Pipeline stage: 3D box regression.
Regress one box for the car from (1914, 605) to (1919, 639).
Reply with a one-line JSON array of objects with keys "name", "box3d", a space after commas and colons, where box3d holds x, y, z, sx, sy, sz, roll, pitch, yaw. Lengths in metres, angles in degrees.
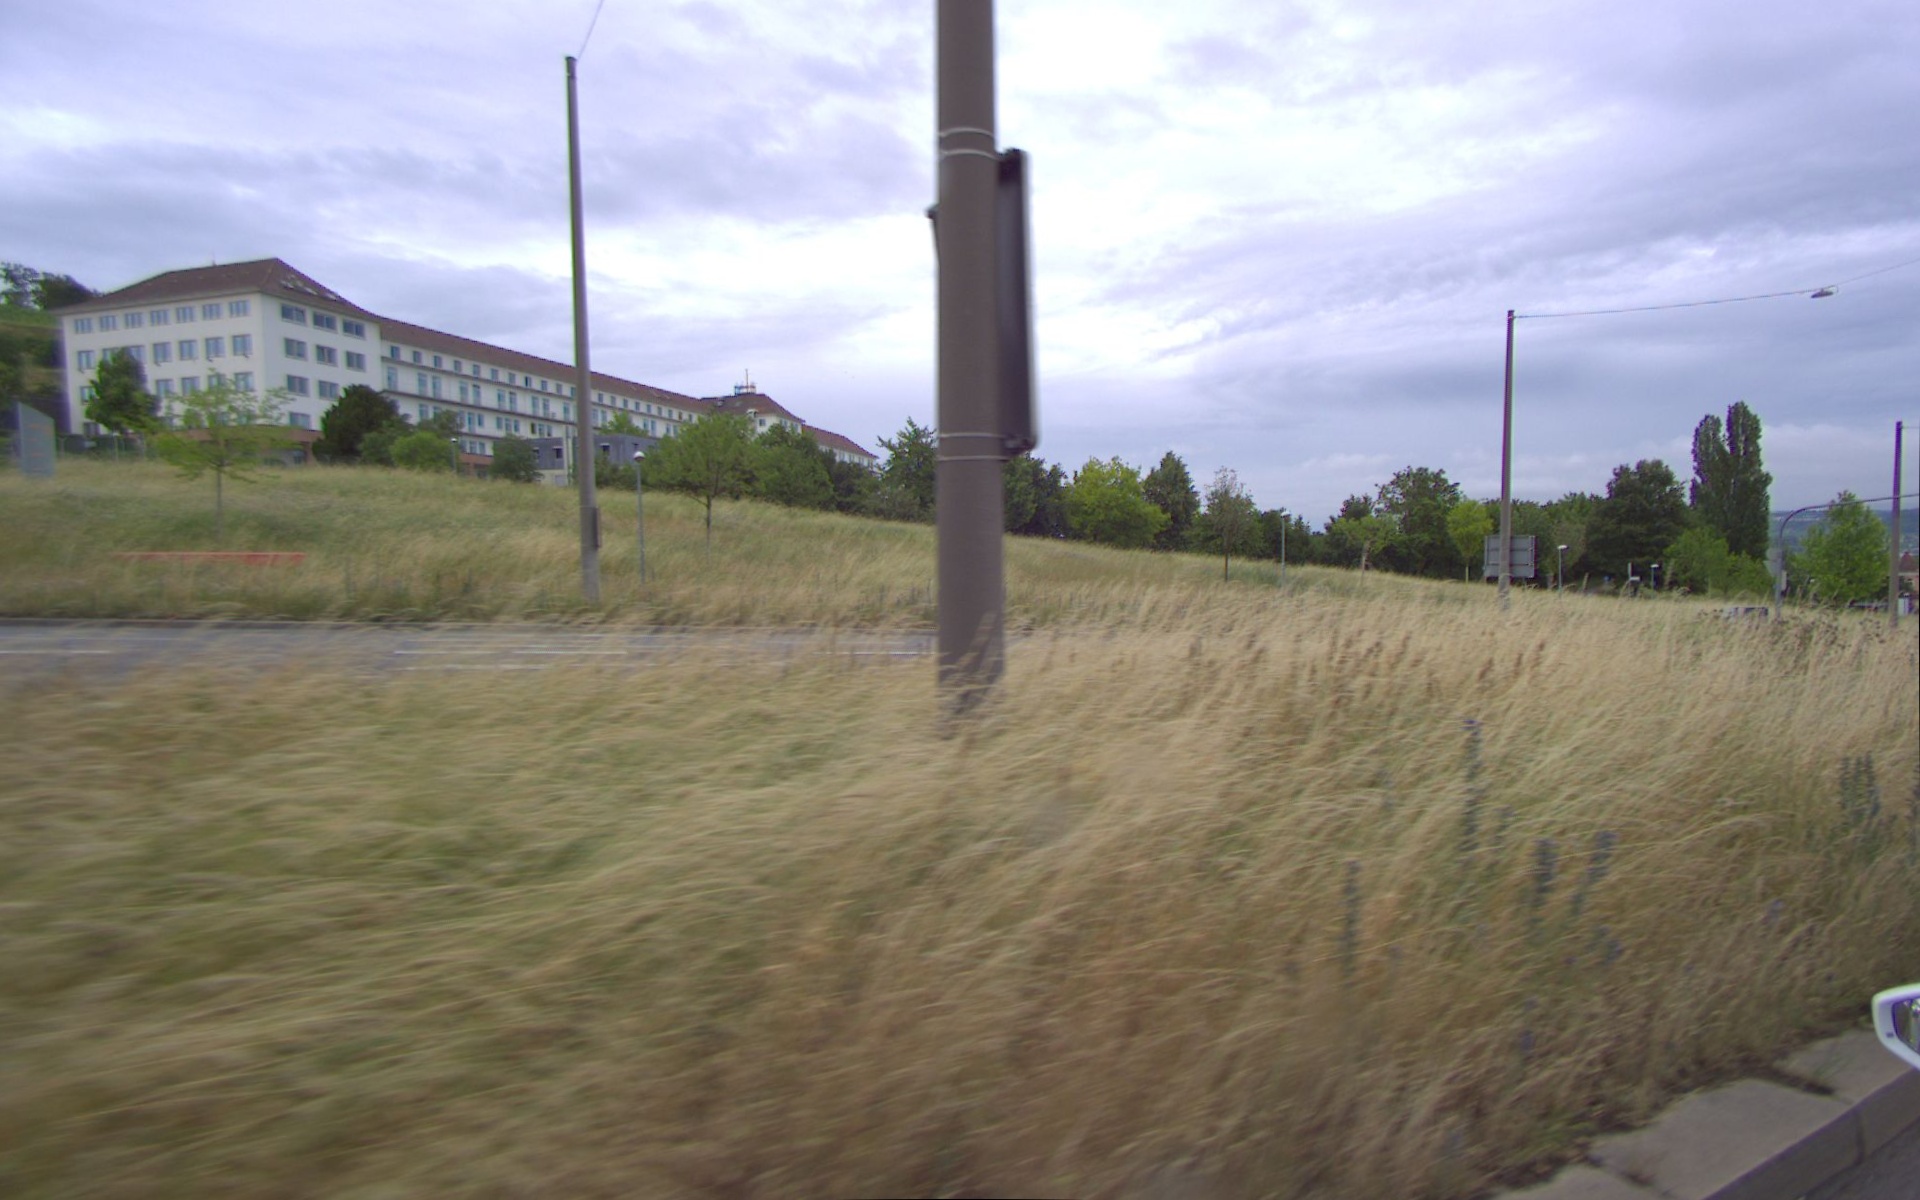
[{"name": "car", "box3d": [48.154, 1.156, 48.283, 4.617, 1.633, 1.878, 2, 1, -27]}]
